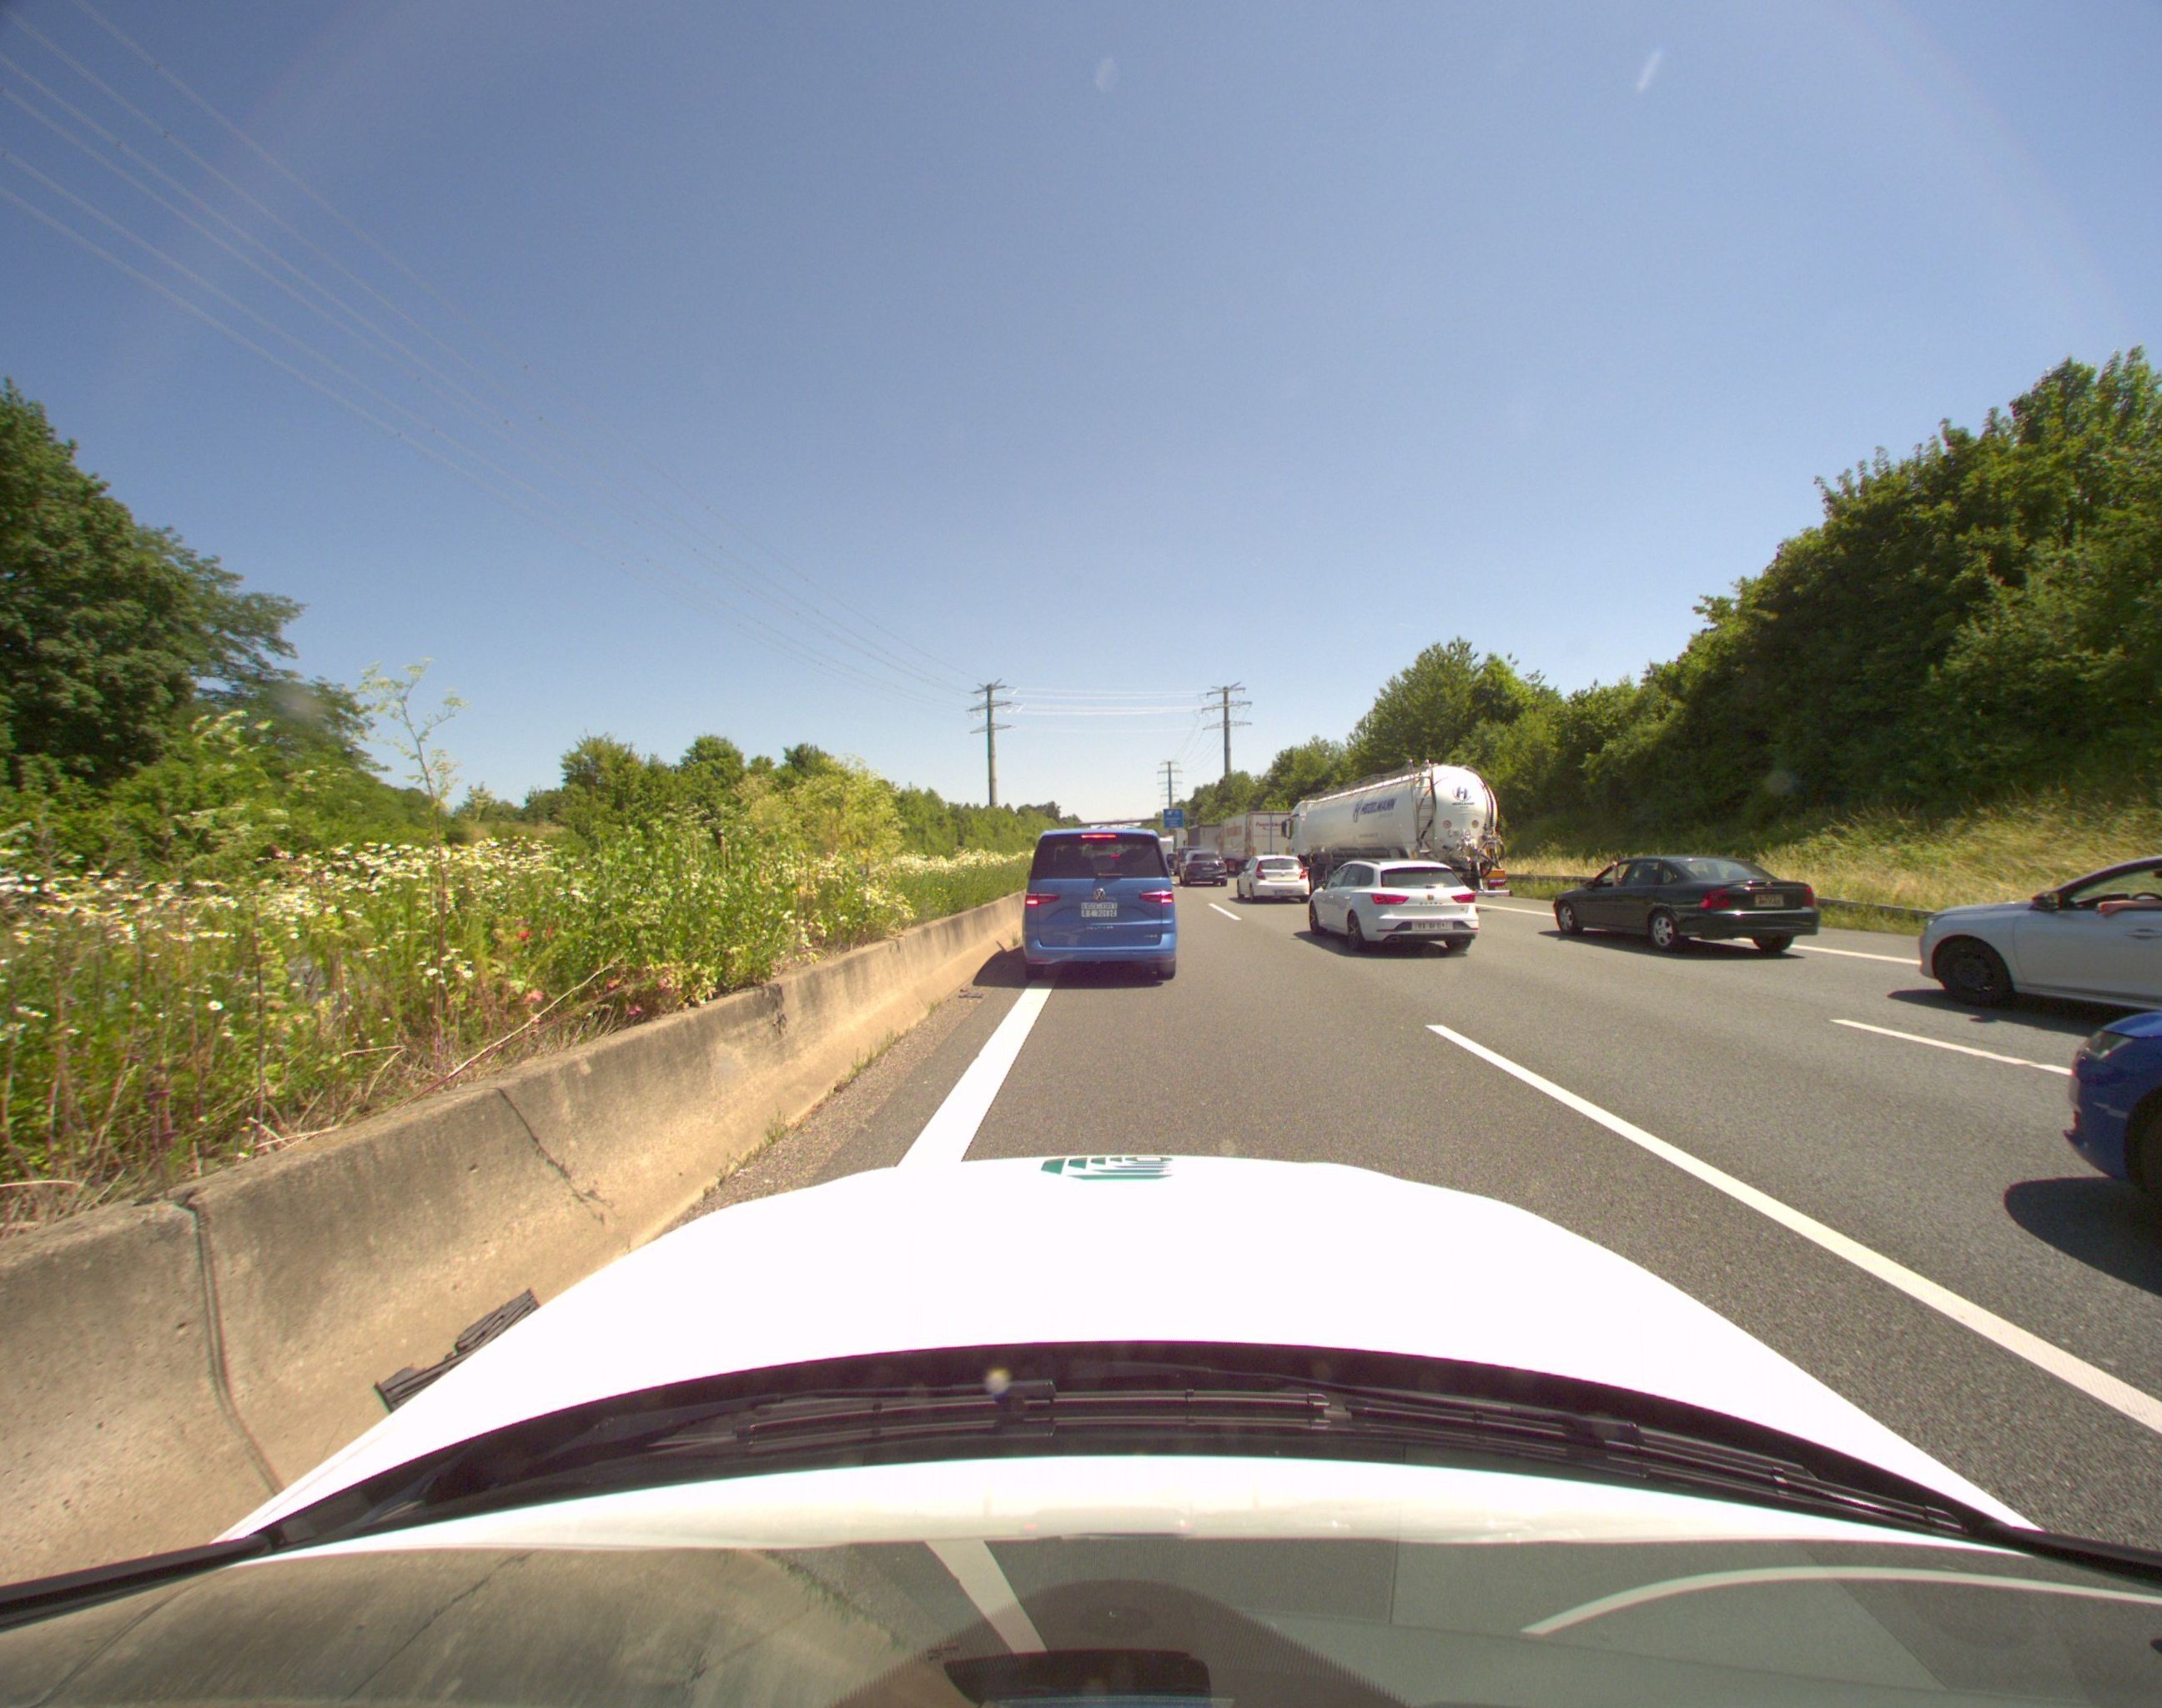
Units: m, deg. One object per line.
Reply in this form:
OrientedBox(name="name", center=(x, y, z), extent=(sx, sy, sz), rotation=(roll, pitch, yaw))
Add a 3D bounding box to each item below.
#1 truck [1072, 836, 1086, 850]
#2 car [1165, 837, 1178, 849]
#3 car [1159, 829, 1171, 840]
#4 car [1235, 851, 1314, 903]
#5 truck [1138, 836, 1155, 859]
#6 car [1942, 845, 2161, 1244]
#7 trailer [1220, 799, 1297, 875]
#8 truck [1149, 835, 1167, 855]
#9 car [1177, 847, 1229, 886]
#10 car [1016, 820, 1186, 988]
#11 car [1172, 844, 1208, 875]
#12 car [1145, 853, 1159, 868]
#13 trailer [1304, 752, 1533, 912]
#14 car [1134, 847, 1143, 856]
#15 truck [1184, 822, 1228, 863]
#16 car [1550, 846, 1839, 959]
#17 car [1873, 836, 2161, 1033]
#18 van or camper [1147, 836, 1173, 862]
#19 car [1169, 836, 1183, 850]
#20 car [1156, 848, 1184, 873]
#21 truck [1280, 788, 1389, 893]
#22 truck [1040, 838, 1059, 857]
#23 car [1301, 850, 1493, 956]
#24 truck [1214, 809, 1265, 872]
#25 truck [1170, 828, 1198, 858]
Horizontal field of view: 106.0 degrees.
OrientedBox(name="truck", center=(-0.482, -2.960, 229.912), extent=(3.160, 3.819, 11.951), rotation=(-1, 0, 3))
OrientedBox(name="car", center=(15.628, -1.907, 140.770), extent=(1.985, 2.014, 4.003), rotation=(-2, -1, 3))
OrientedBox(name="car", center=(15.655, -3.603, 151.443), extent=(1.985, 2.014, 4.003), rotation=(-2, -1, 3))
OrientedBox(name="car", center=(6.151, 0.726, 26.361), extent=(1.809, 1.485, 4.004), rotation=(-2, -1, 4))
OrientedBox(name="truck", center=(11.759, -1.124, 147.225), extent=(2.883, 3.766, 10.149), rotation=(-2, -1, 3))
OrientedBox(name="car", center=(4.755, 0.631, 1.358), extent=(1.770, 1.416, 4.572), rotation=(-3, -1, 0))
OrientedBox(name="trailer", center=(11.784, -1.002, 55.520), extent=(2.901, 4.469, 12.160), rotation=(-2, 0, 2))
OrientedBox(name="truck", center=(18.590, -2.072, 196.575), extent=(3.552, 4.517, 10.298), rotation=(-2, -1, 2))
OrientedBox(name="car", center=(5.836, 0.617, 39.409), extent=(1.991, 1.715, 4.629), rotation=(-2, -1, 3))
OrientedBox(name="car", center=(0.317, 0.573, 11.233), extent=(1.912, 1.886, 4.003), rotation=(-1, 0, 3))
OrientedBox(name="car", center=(7.382, 0.408, 55.603), extent=(1.916, 1.925, 4.237), rotation=(-3, -1, 2))
OrientedBox(name="car", center=(10.014, 0.901, 114.889), extent=(1.828, 1.998, 4.004), rotation=(-3, -1, 4))
OrientedBox(name="trailer", center=(9.850, -0.506, 25.737), extent=(2.750, 3.845, 11.492), rotation=(-2, 0, 2))
OrientedBox(name="car", center=(14.725, -0.623, 208.493), extent=(1.986, 2.126, 4.002), rotation=(-2, -1, 2))
OrientedBox(name="truck", center=(12.574, -0.997, 83.301), extent=(2.993, 3.766, 15.726), rotation=(-2, -1, 3))
OrientedBox(name="car", center=(9.272, 0.673, 12.798), extent=(1.634, 1.416, 3.992), rotation=(-3, -1, 3))
OrientedBox(name="car", center=(8.976, 0.591, 6.370), extent=(1.724, 1.443, 4.031), rotation=(-2, 0, 2))
OrientedBox(name="van or camper", center=(9.602, -0.521, 99.369), extent=(2.944, 3.022, 7.110), rotation=(-2, -1, 4))
OrientedBox(name="car", center=(15.230, -1.778, 131.029), extent=(1.985, 2.014, 4.003), rotation=(-2, -1, 3))
OrientedBox(name="car", center=(7.381, 0.550, 67.798), extent=(1.916, 1.925, 4.237), rotation=(-3, -1, 2))
OrientedBox(name="truck", center=(10.158, -0.484, 33.252), extent=(2.782, 3.836, 5.575), rotation=(-2, -1, 2))
OrientedBox(name="truck", center=(-6.680, -1.265, 173.166), extent=(2.900, 3.819, 11.951), rotation=(-1, 0, 3))
OrientedBox(name="car", center=(5.077, 0.738, 13.748), extent=(1.740, 1.443, 4.317), rotation=(-2, -1, 3))
OrientedBox(name="truck", center=(12.034, -0.986, 62.232), extent=(2.901, 4.469, 5.145), rotation=(-2, -1, 2))
OrientedBox(name="truck", center=(14.356, -1.395, 114.139), extent=(2.883, 3.766, 13.356), rotation=(-2, -1, 3))
